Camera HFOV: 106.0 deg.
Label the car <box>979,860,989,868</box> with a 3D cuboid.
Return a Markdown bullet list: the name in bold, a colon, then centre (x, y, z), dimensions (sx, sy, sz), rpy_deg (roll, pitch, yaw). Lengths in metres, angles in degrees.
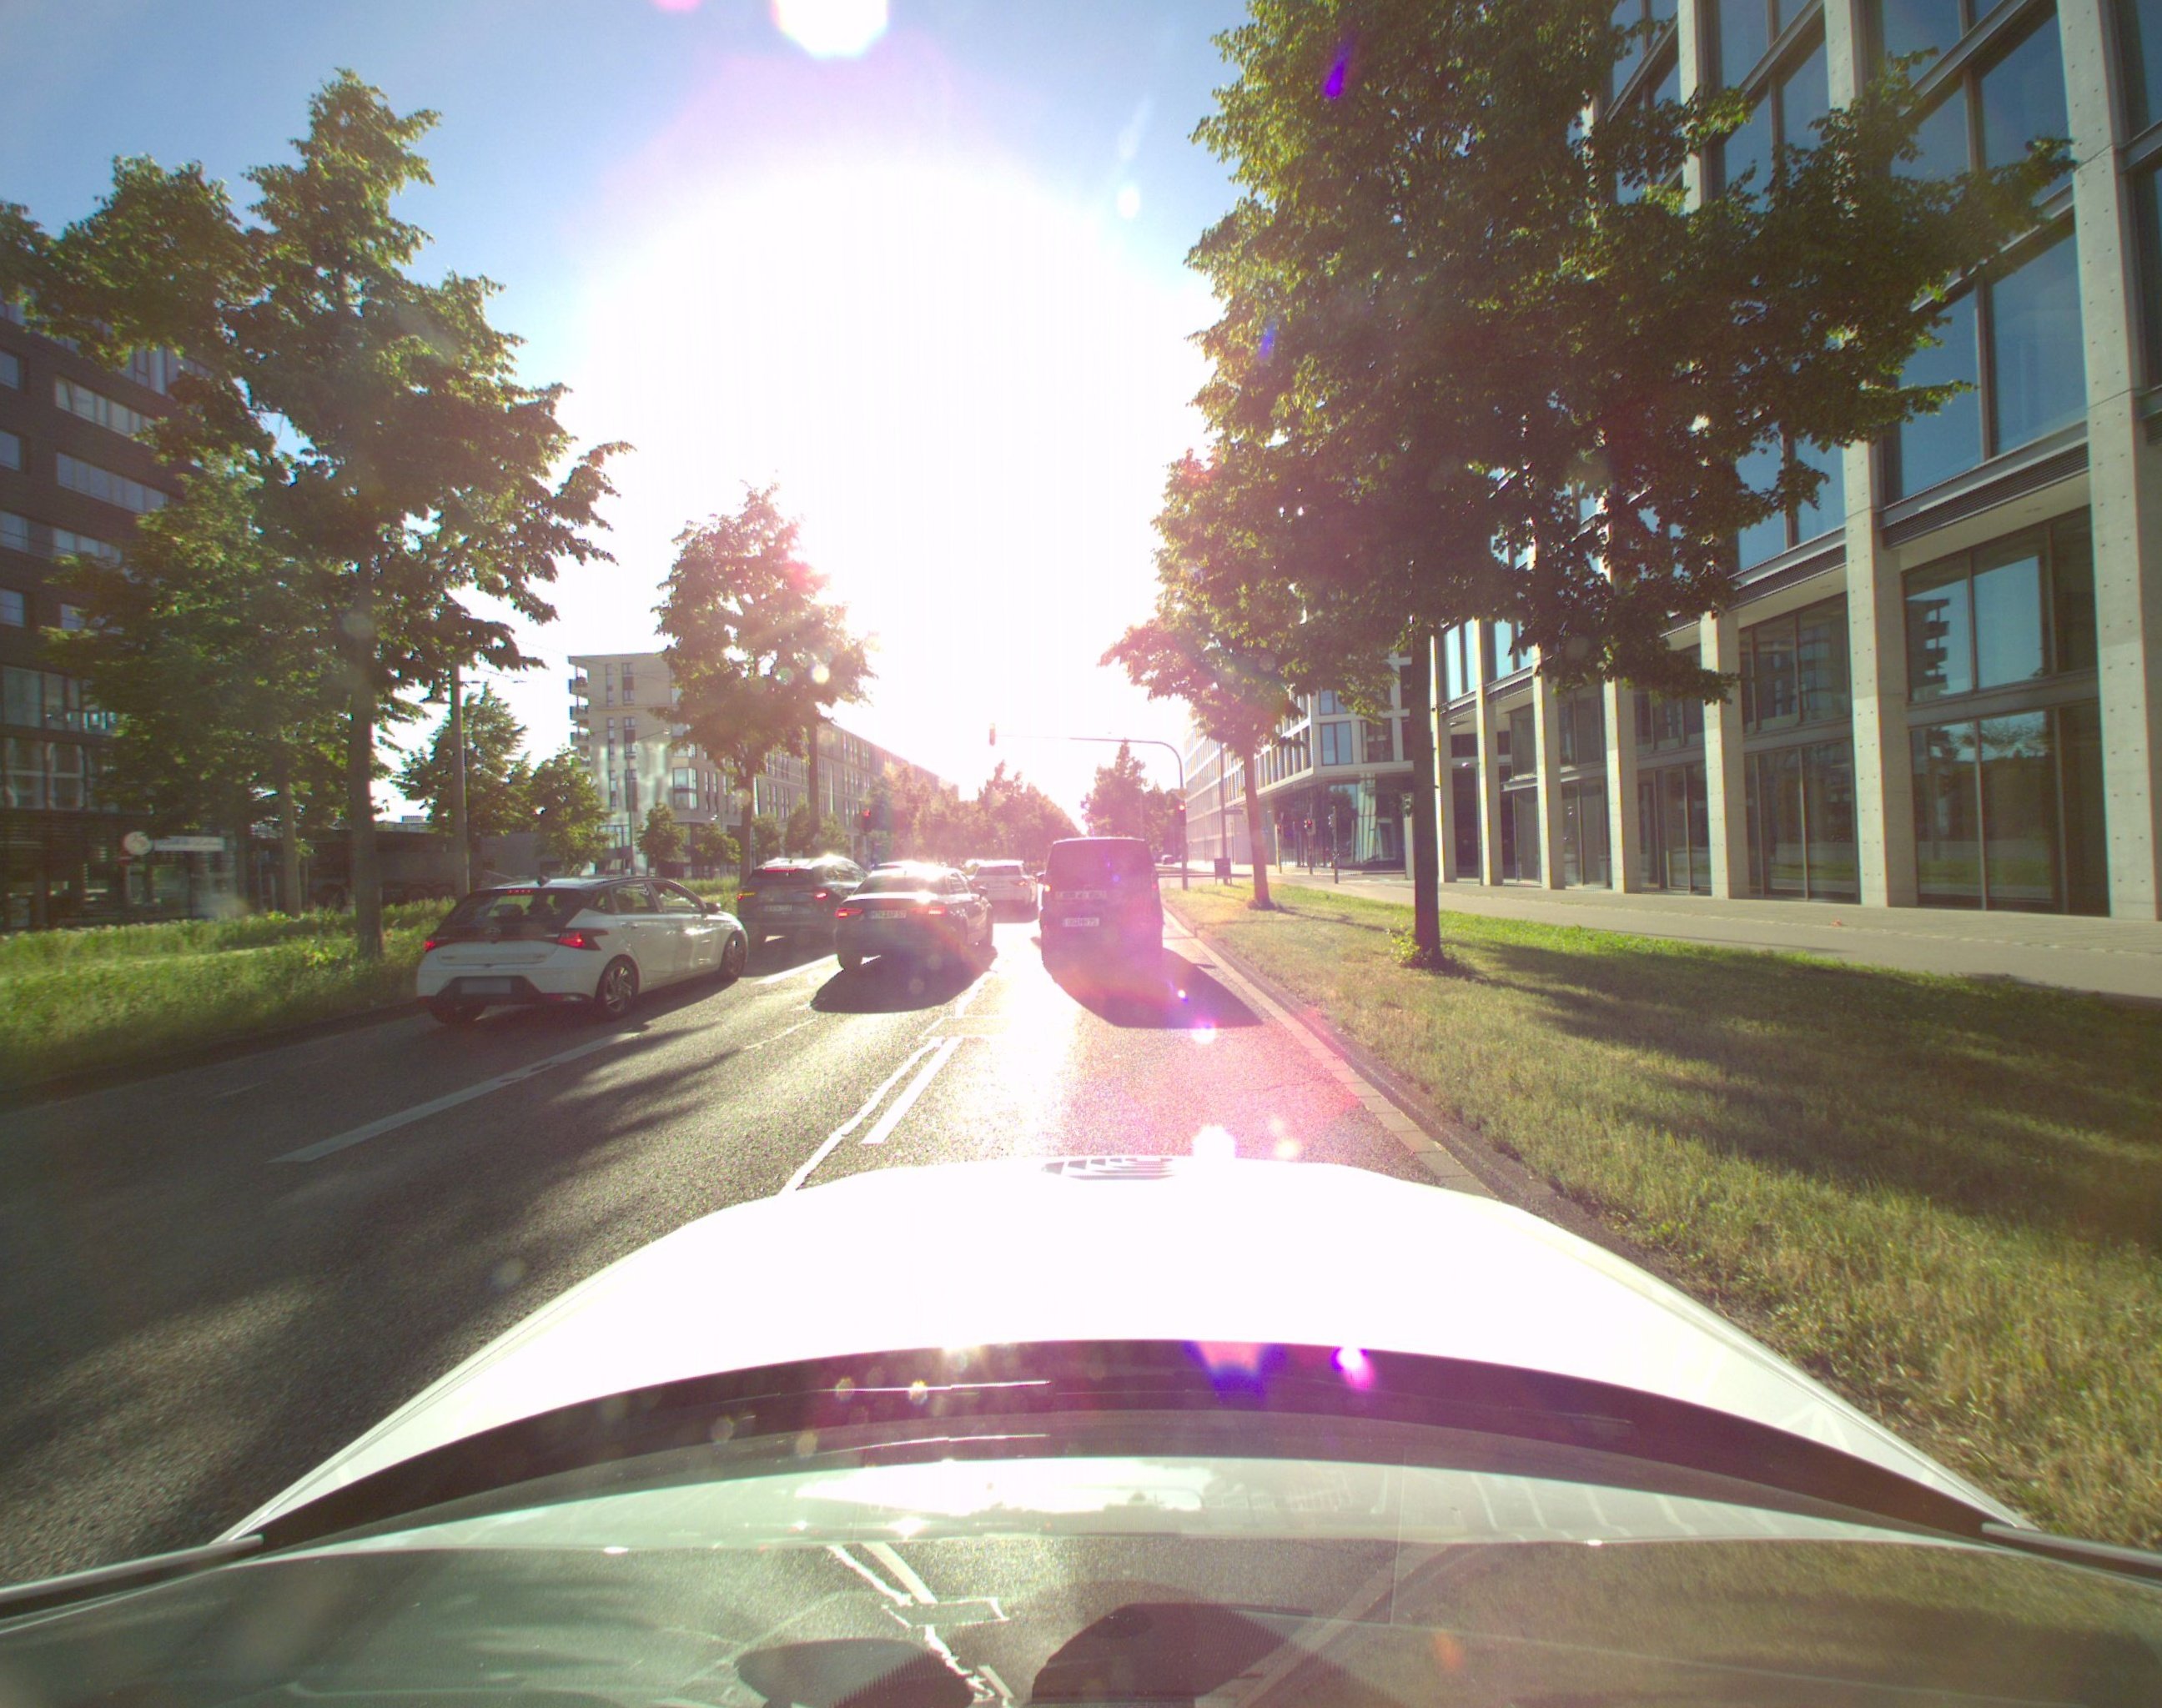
- **car**: centre (-27.361, 2.789, 229.558), dimensions (1.986, 2.013, 4.001), rpy_deg (-2, 0, 2)

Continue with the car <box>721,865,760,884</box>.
- **car**: centre (-30.853, 1.853, 73.892), dimensions (1.758, 1.520, 4.002), rpy_deg (-2, 0, 2)

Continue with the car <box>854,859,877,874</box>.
- **car**: centre (-30.757, 1.805, 116.345), dimensions (1.986, 2.013, 4.001), rpy_deg (-2, 0, 2)

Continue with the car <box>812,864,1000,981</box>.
- **car**: centre (-2.487, 0.911, 12.739), dimensions (1.835, 1.426, 4.340), rpy_deg (-2, 0, 2)

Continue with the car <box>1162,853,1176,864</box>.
- **car**: centre (14.430, 0.762, 133.562), dimensions (1.986, 1.782, 4.001), rpy_deg (-2, 0, 2)

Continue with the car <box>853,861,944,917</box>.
- **car**: centre (-5.449, 0.988, 24.917), dimensions (1.794, 1.483, 4.566), rpy_deg (1, 0, -1)

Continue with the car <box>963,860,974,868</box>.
- **car**: centre (-28.521, 2.565, 205.930), dimensions (1.986, 2.013, 4.001), rpy_deg (-2, 0, 2)

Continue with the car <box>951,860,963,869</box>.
- **car**: centre (-28.804, 2.407, 189.111), dimensions (1.986, 2.013, 4.001), rpy_deg (-2, 0, 2)

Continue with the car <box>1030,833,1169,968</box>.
- **car**: centre (0.310, 0.642, 13.067), dimensions (1.835, 1.780, 4.001), rpy_deg (-2, 0, 2)

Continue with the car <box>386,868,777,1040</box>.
- **car**: centre (-5.426, 0.955, 9.739), dimensions (1.793, 1.447, 4.568), rpy_deg (-2, 0, 0)

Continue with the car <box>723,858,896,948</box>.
- **car**: centre (-5.228, 0.864, 16.417), dimensions (1.793, 1.447, 4.569), rpy_deg (-3, 0, 1)

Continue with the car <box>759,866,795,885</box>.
- **car**: centre (-31.653, 2.239, 84.994), dimensions (1.986, 1.814, 4.372), rpy_deg (-2, 0, 2)

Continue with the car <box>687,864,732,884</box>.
- **car**: centre (-30.899, 1.665, 67.825), dimensions (1.758, 1.520, 4.002), rpy_deg (-2, 0, 2)

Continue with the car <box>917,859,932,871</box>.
- **car**: centre (-29.998, 2.095, 156.033), dimensions (1.986, 2.013, 4.001), rpy_deg (-2, 0, 2)

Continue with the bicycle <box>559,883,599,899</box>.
- **bicycle**: centre (-42.923, 3.176, 69.605), dimensions (2.930, 1.190, 0.818), rpy_deg (-2, 0, 2)

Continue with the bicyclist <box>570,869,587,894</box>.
- **bicyclist**: centre (-42.959, 2.343, 69.623), dimensions (0.936, 2.092, 0.818), rpy_deg (-2, 0, 3)

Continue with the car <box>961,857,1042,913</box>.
- **car**: centre (-2.201, 0.819, 23.501), dimensions (1.797, 1.426, 3.902), rpy_deg (-2, 0, 2)

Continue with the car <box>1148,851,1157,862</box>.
- **car**: centre (17.963, 0.592, 203.958), dimensions (1.986, 2.497, 4.988), rpy_deg (-2, 0, 2)

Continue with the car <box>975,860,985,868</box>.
- **car**: centre (-27.816, 2.735, 223.942), dimensions (1.986, 2.013, 4.001), rpy_deg (-2, 0, 2)

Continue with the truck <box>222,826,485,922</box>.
- **truck**: centre (-33.479, 0.832, 38.400), dimensions (2.880, 3.853, 10.217), rpy_deg (-2, 0, 2)

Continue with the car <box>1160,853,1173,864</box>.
- **car**: centre (14.540, 0.809, 138.571), dimensions (1.986, 1.782, 4.001), rpy_deg (-2, 0, 2)
